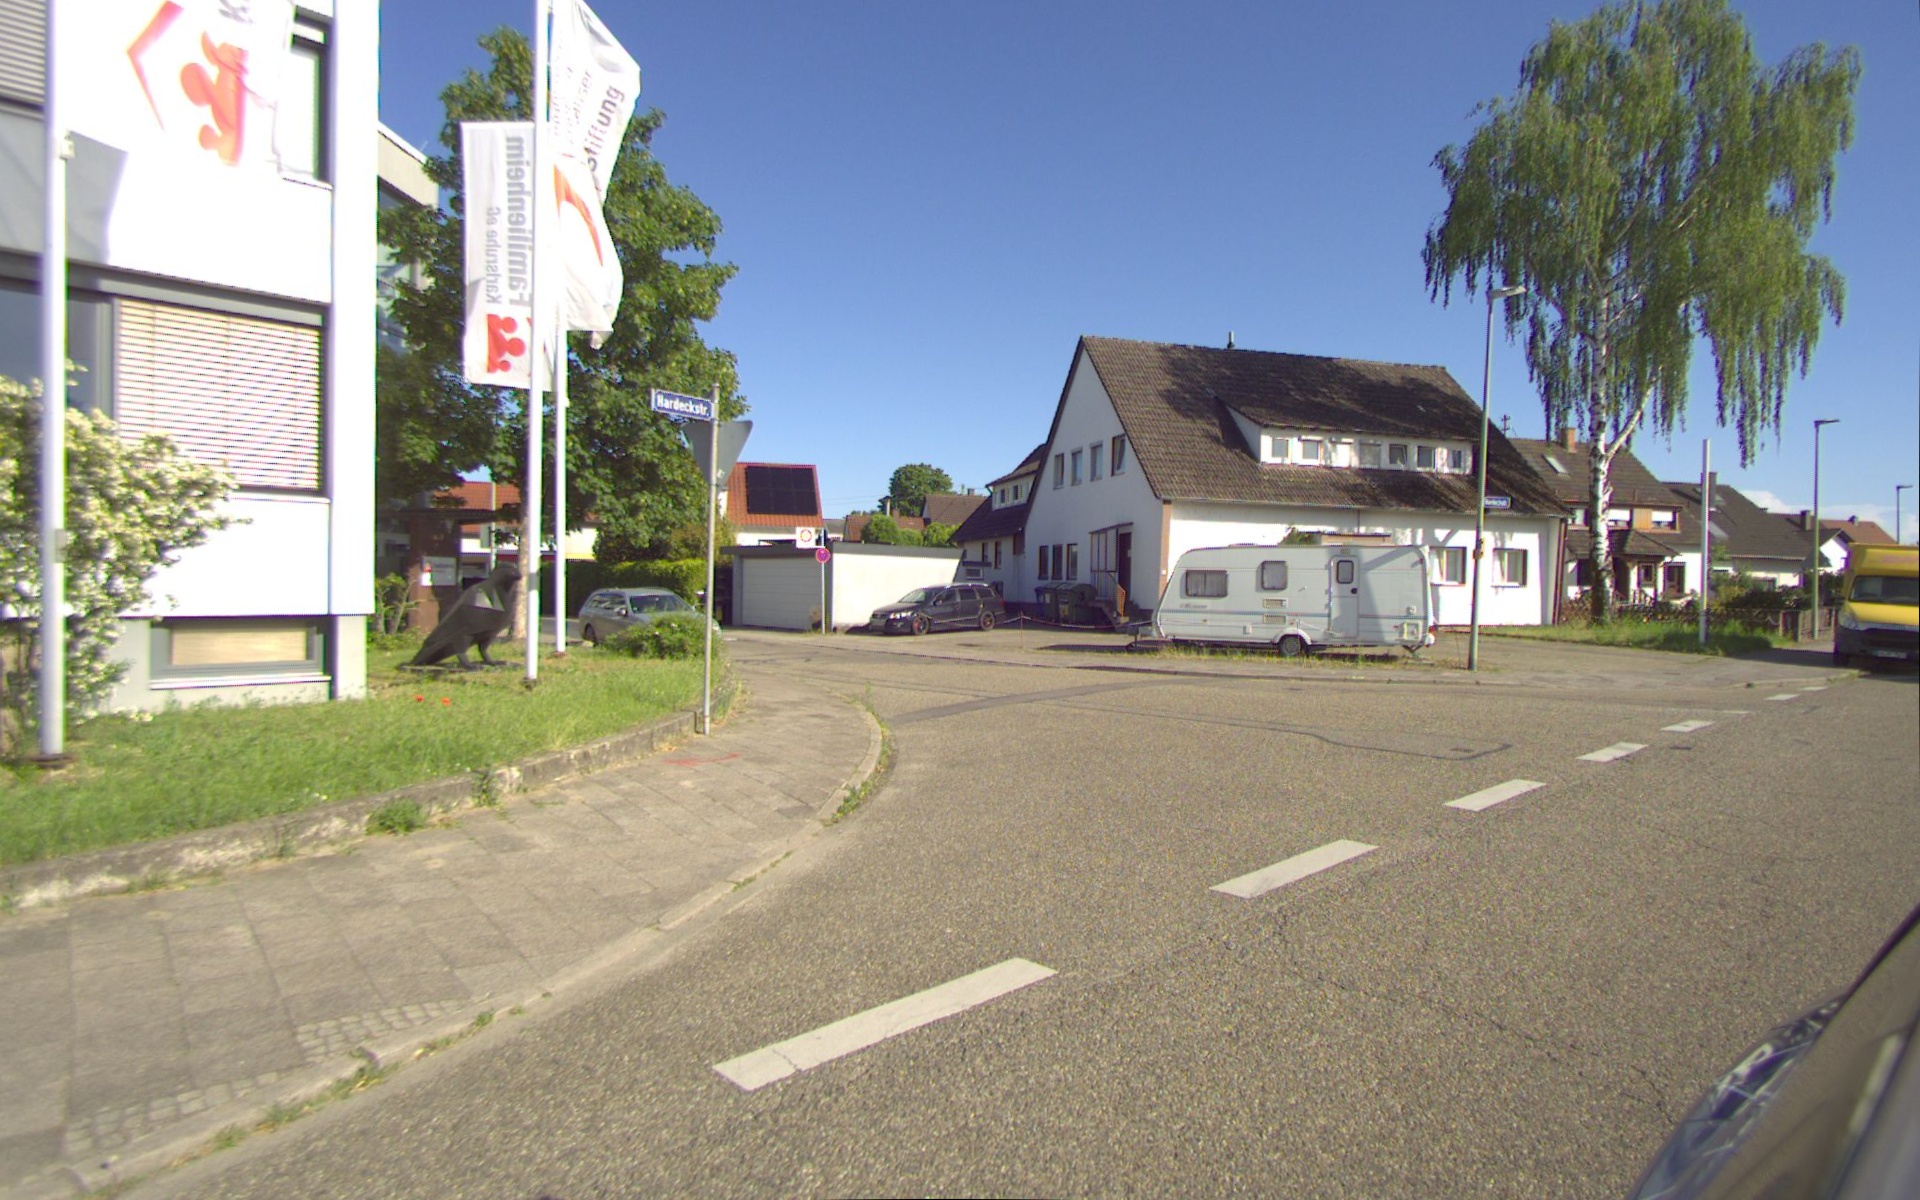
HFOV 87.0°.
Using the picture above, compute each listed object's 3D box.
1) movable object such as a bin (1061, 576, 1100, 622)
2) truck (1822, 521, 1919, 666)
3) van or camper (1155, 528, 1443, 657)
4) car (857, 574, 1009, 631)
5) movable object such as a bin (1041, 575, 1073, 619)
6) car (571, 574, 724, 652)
[{"bbox_3d":[3.845,-0.047,32.405,0.970,1.454,0.838,0,1,-18],"label":"movable object such as a bin"},{"bbox_3d":[22.168,-0.190,23.411,6.897,2.972,2.407,-1,4,-42],"label":"truck"},{"bbox_3d":[7.416,-0.218,22.394,5.767,2.573,2.272,1,1,24],"label":"van or camper"},{"bbox_3d":[-0.747,0.019,30.819,4.552,1.455,1.718,-4,4,-41],"label":"car"},{"bbox_3d":[3.217,-0.107,33.672,0.587,1.454,1.197,0,1,-18],"label":"movable object such as a bin"},{"bbox_3d":[-7.408,0.228,23.722,1.769,1.638,4.518,0,2,-41],"label":"car"}]
